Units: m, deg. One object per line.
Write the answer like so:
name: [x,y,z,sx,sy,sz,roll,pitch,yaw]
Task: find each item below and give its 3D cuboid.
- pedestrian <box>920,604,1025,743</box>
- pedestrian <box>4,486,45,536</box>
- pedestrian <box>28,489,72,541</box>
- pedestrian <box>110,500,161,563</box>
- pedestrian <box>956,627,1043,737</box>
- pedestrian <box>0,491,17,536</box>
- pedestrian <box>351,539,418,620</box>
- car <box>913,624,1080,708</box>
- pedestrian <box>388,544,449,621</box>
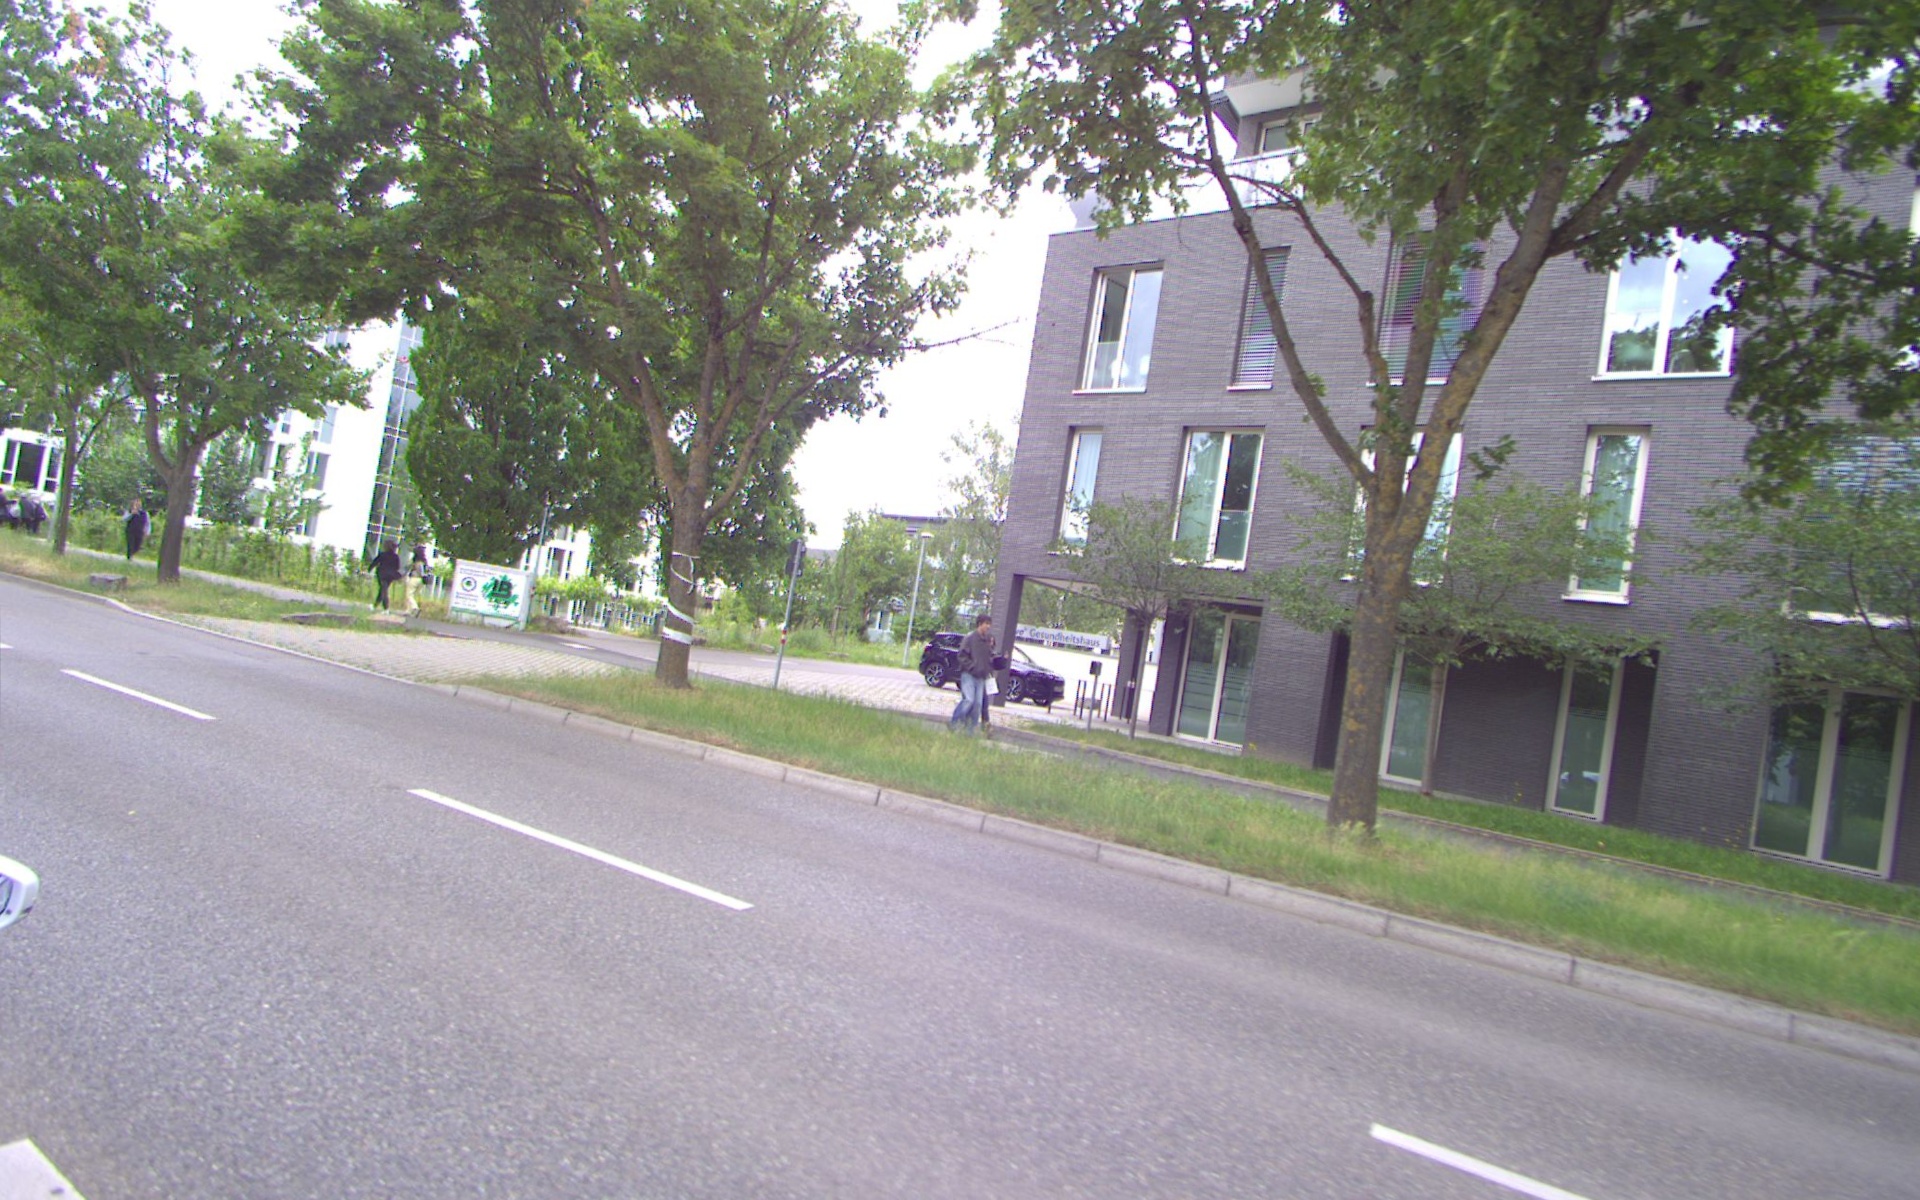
pedestrian: [0.192,1.097,14.921,0.963,1.889,0.961,7,-2,34]
pedestrian: [-32.638,-3.101,35.100,0.869,1.614,0.701,6,-2,31]
pedestrian: [-32.449,-3.040,35.873,0.869,1.704,0.768,6,-2,31]
pedestrian: [-22.580,-1.864,27.543,0.663,1.592,0.743,6,-2,31]
pedestrian: [0.627,1.294,15.747,0.861,1.575,0.834,7,-2,33]
pedestrian: [-33.168,-3.029,34.500,1.093,1.465,0.791,6,-2,31]
pedestrian: [-13.181,-0.473,23.043,1.043,1.679,0.796,7,-2,38]
car: [0.974,1.790,27.556,4.081,1.665,1.759,7,-3,32]
pedestrian: [-12.786,-0.412,23.757,0.938,1.679,0.779,7,-2,38]
